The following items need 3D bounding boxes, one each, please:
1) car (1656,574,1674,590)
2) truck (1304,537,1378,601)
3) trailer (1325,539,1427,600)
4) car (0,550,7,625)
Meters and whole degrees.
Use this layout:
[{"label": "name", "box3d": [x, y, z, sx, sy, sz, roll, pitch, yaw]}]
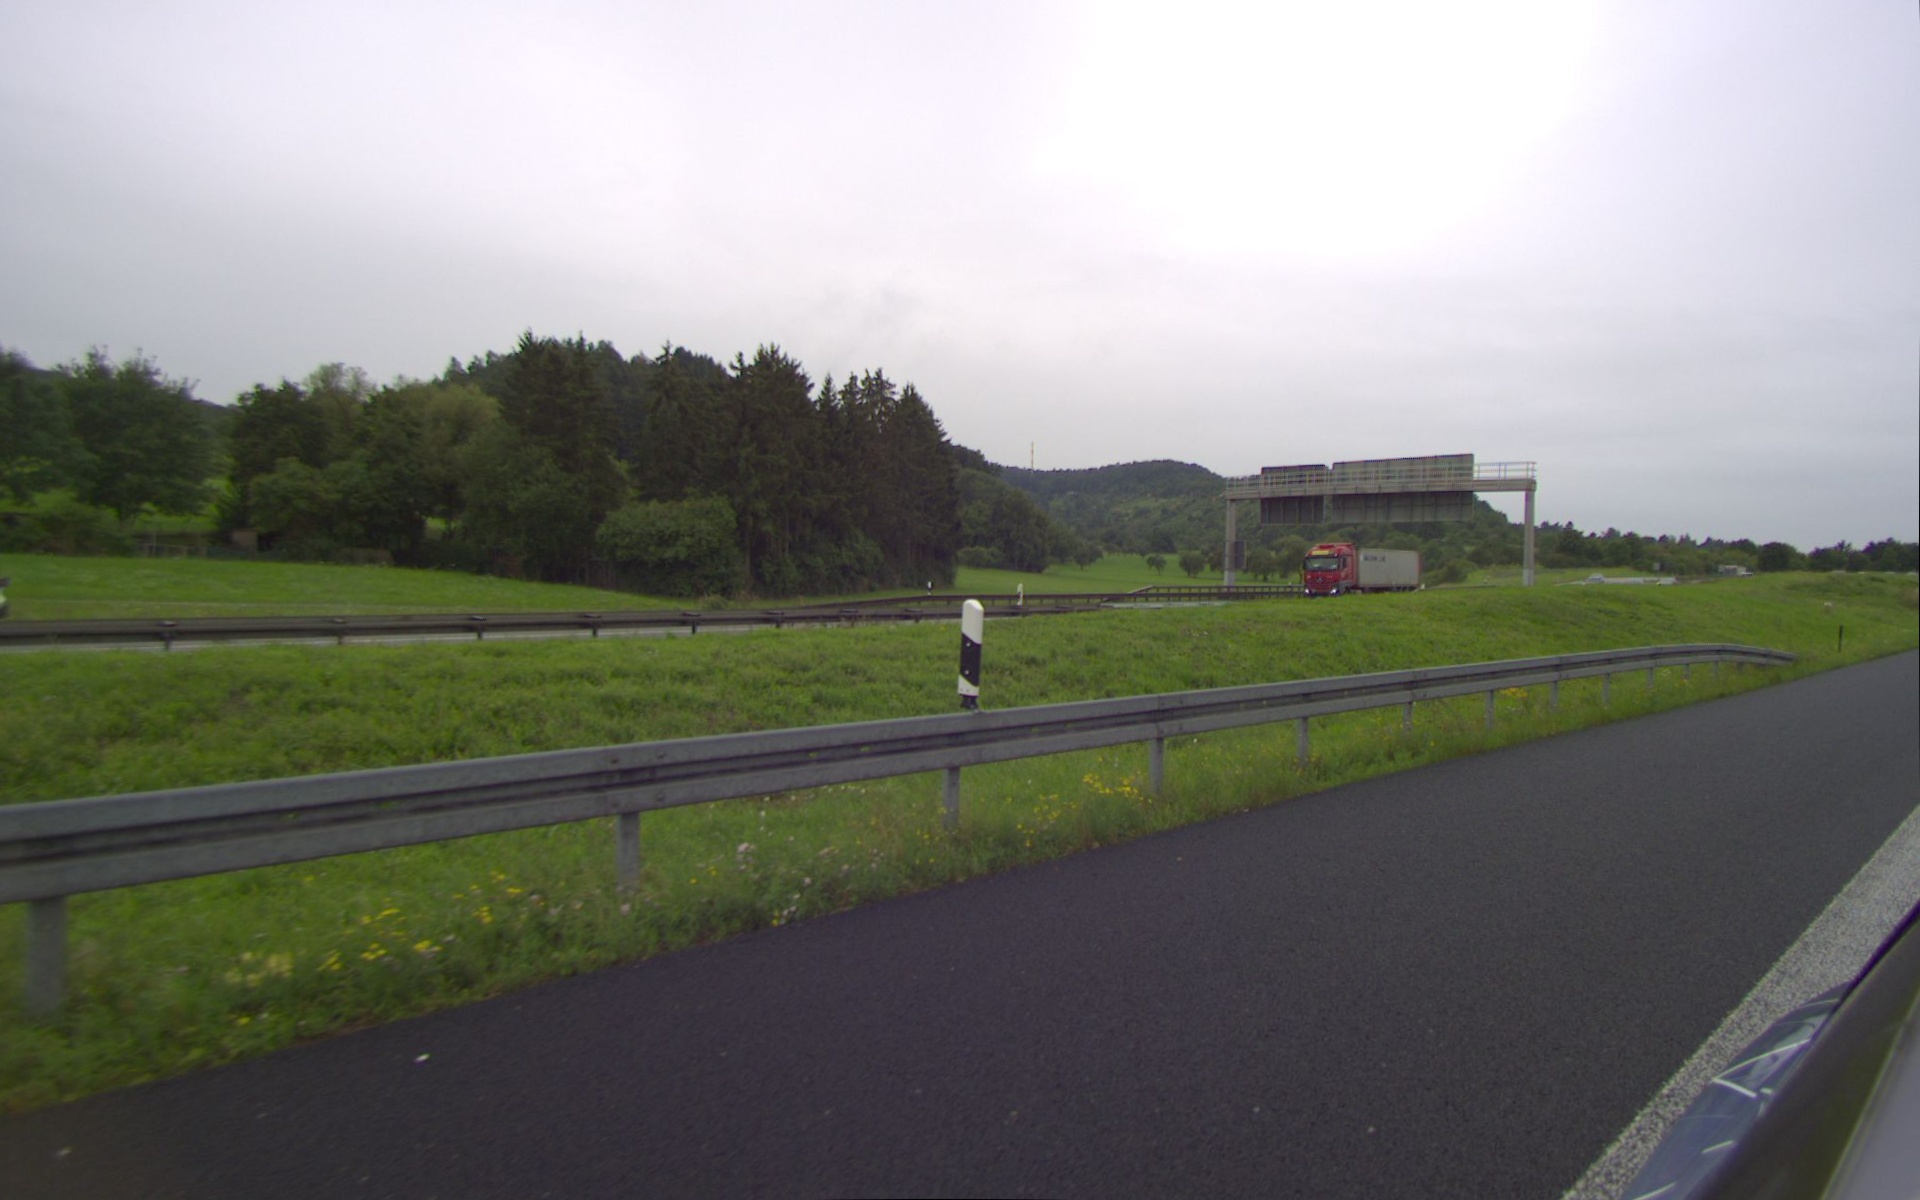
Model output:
[{"label": "car", "box3d": [92.523, -2.303, 132.737, 1.646, 2.039, 3.943, 2, 1, 39]}, {"label": "truck", "box3d": [25.259, -1.993, 66.941, 2.507, 4.037, 5.835, -1, 0, 43]}, {"label": "trailer", "box3d": [29.648, -2.038, 71.687, 2.490, 4.034, 12.212, -1, 0, 43]}, {"label": "car", "box3d": [-21.753, -0.259, 19.473, 4.950, 1.522, 1.820, 0, 1, -45]}]
